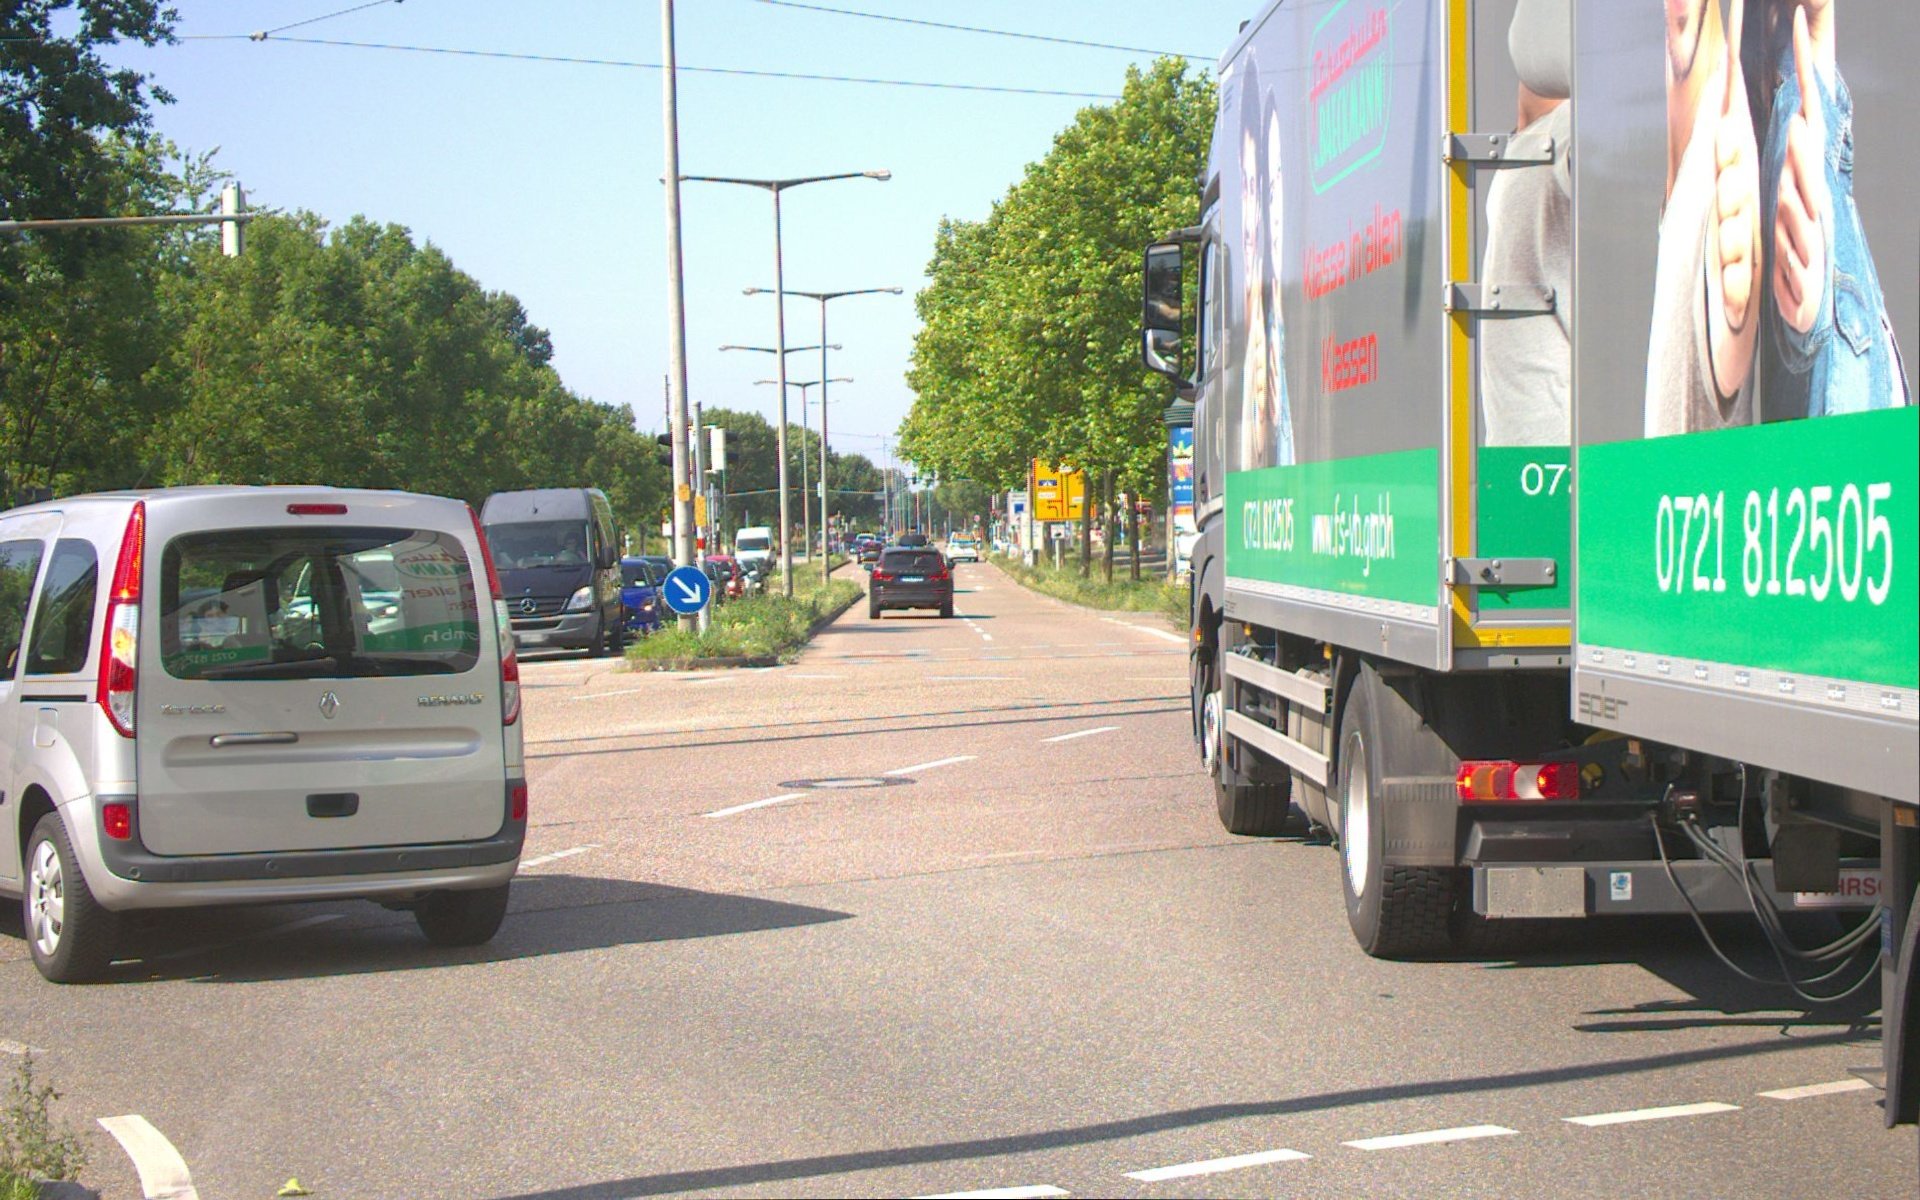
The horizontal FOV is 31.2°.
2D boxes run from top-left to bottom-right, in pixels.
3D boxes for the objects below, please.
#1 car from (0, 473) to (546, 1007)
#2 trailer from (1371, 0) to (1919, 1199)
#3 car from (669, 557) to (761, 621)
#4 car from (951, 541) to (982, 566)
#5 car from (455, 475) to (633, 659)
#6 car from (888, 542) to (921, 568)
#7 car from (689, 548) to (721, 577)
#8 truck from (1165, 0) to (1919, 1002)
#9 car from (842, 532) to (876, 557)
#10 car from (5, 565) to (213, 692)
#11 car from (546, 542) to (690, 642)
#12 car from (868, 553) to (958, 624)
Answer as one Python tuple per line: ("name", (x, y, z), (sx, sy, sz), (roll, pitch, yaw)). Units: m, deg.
("car", (-3.335, 0.461, 13.978), (1.786, 1.831, 4.000), (0, 1, -31))
("trailer", (2.645, -0.633, 6.081), (2.736, 3.863, 7.736), (-1, 0, -1))
("car", (-6.105, -0.285, 86.139), (1.993, 1.579, 4.000), (0, 0, 0))
("car", (0.445, -3.029, 224.794), (1.993, 1.579, 4.456), (0, 0, 0))
("car", (-6.272, -0.500, 52.418), (1.993, 2.598, 5.134), (-2, 0, 0))
("car", (-3.465, -2.816, 216.588), (1.993, 1.579, 4.456), (0, 0, 0))
("car", (-17.641, -2.590, 238.112), (1.888, 2.007, 4.000), (1, 0, -1))
("truck", (2.543, -0.838, 14.324), (2.729, 3.876, 8.723), (-1, 0, 0))
("car", (-6.363, -3.483, 216.367), (1.993, 1.579, 4.456), (0, 0, 0))
("car", (-11.811, 0.369, 47.935), (1.911, 1.636, 3.737), (-2, 0, 0))
("car", (-5.891, -0.146, 59.624), (1.993, 1.579, 4.000), (-3, 0, 0))
("car", (-1.049, -0.277, 78.982), (1.993, 1.579, 4.456), (0, 0, 0))
